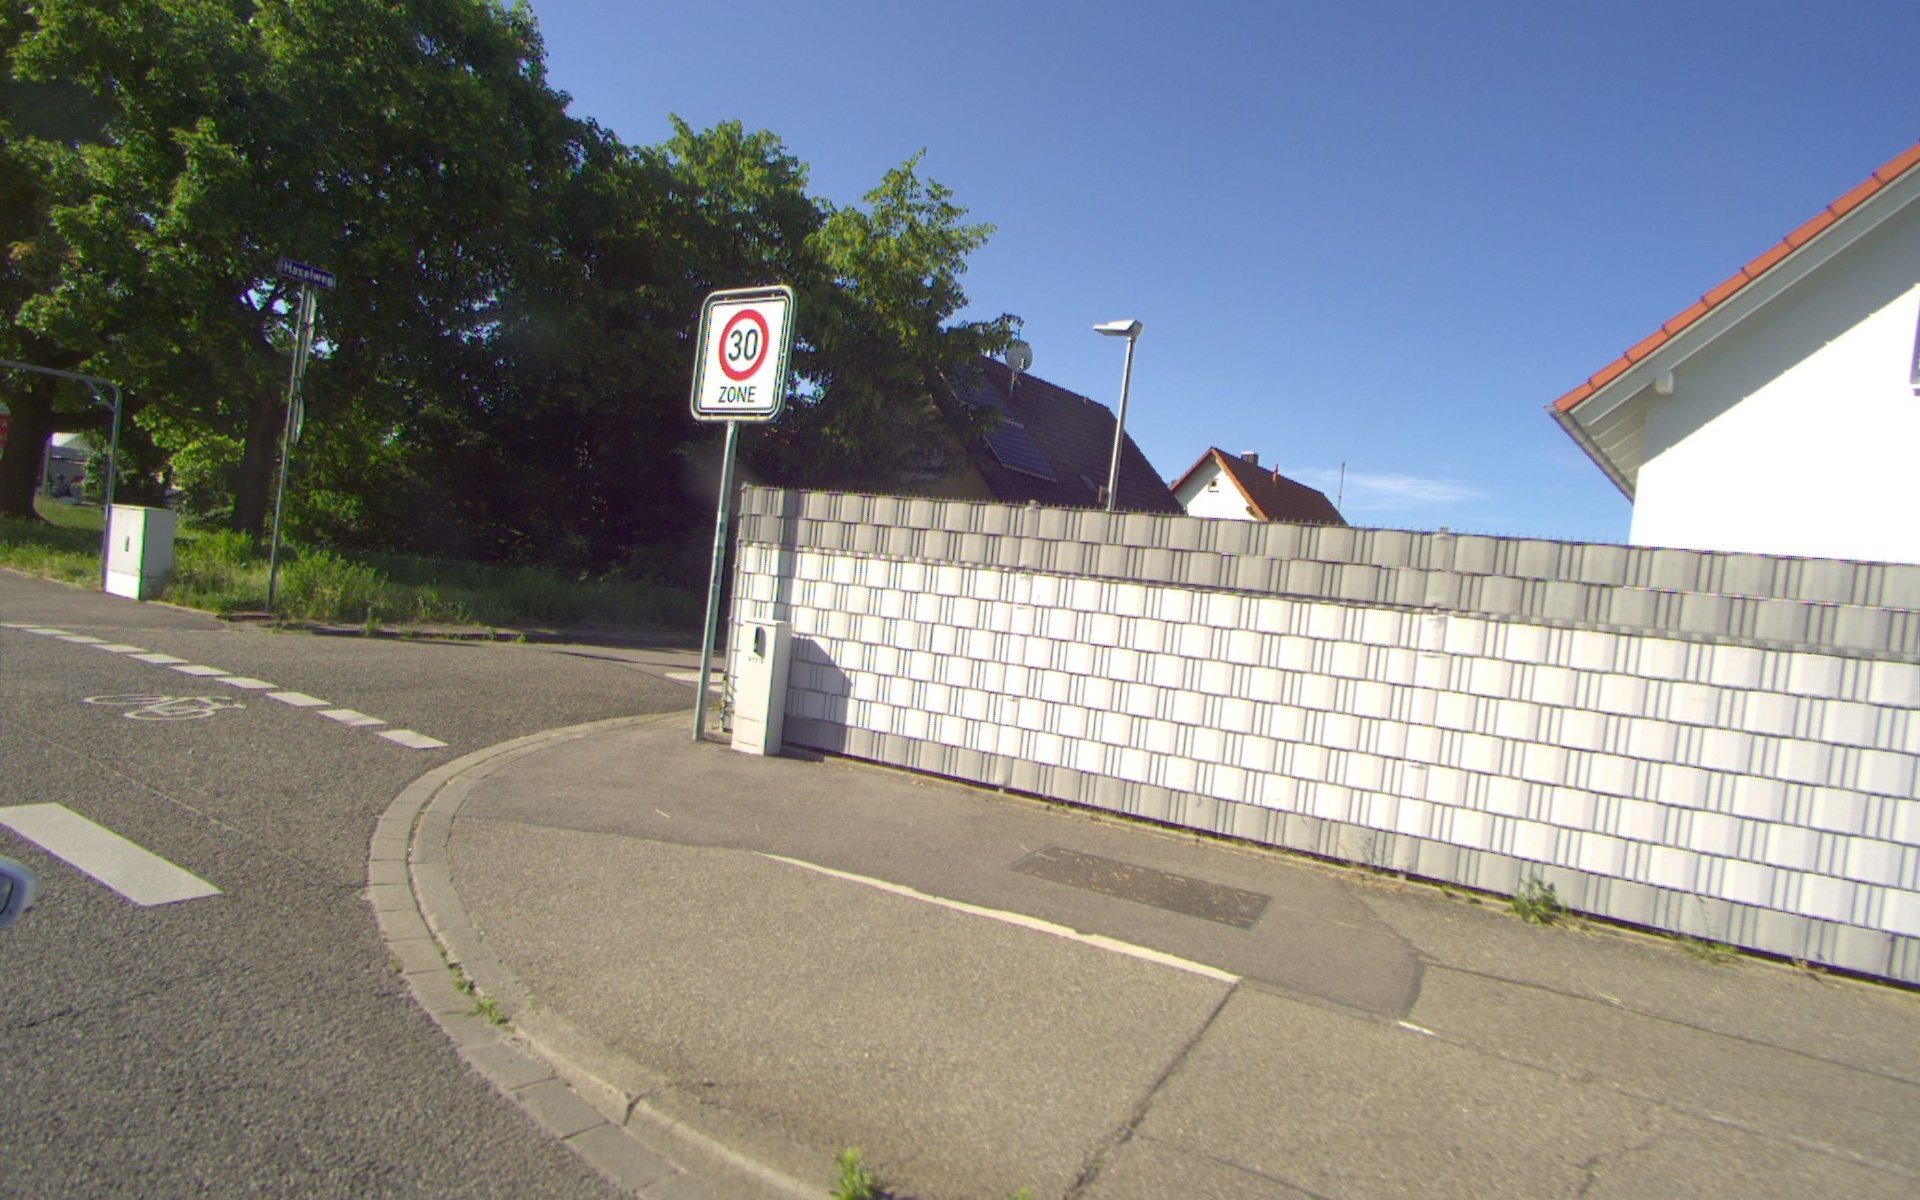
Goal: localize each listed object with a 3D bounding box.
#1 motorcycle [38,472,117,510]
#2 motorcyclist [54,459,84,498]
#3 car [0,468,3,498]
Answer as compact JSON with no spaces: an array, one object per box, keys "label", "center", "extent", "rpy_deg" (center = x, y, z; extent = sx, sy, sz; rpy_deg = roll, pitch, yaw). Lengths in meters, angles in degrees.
[{"label":"motorcycle","center":[-42.704,-5.259,48.690],"extent":[0.823,1.285,2.720],"rpy_deg":[6,-2,44]},{"label":"motorcyclist","center":[-42.873,-5.823,48.416],"extent":[0.823,1.699,0.858],"rpy_deg":[6,-1,45]},{"label":"car","center":[-46.027,-5.489,44.833],"extent":[1.971,1.593,4.613],"rpy_deg":[6,0,40]}]
